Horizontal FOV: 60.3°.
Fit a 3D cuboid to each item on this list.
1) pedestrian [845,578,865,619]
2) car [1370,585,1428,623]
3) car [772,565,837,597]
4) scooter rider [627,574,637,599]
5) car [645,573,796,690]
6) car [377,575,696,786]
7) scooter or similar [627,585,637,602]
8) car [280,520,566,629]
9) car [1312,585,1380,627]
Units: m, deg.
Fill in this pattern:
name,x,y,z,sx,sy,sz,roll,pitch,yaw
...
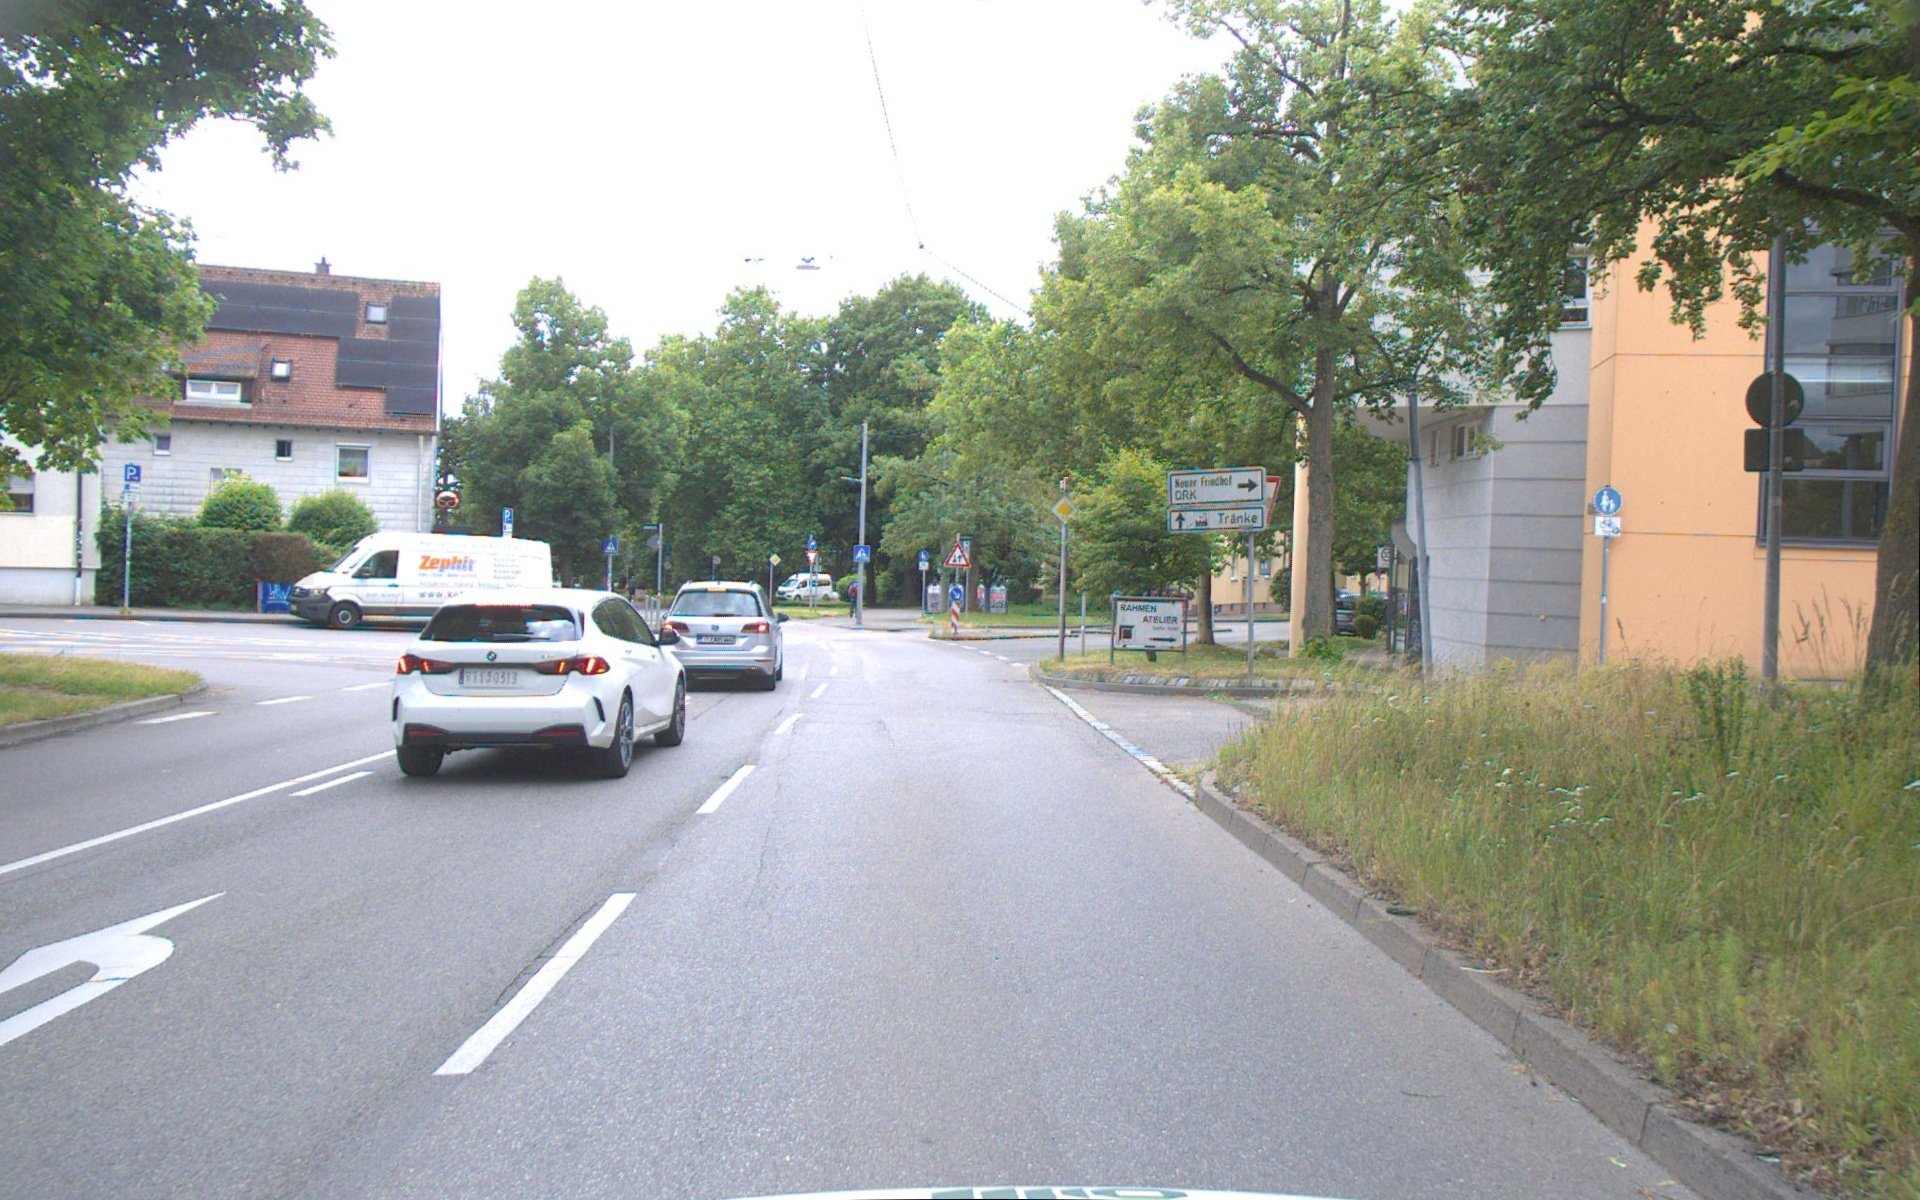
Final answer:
name,x,y,z,sx,sy,sz,roll,pitch,yaw
pedestrian,-5.151,-0.059,81.265,0.906,1.903,1.018,-2,4,-5
car,20.989,0.205,78.988,1.744,1.625,4.243,4,1,27
car,-12.715,-1.571,135.550,2.096,2.336,5.363,5,2,37
scooter rider,-21.488,-0.877,108.298,0.591,1.579,0.564,0,2,-16
car,-3.607,0.421,25.570,1.884,1.601,3.998,1,1,-3
car,-3.480,0.579,14.392,1.759,1.544,4.206,-1,0,-1
scooter or similar,-21.448,-0.406,108.163,0.591,1.073,0.869,0,2,-16
car,-14.184,-0.640,44.055,6.912,2.565,2.056,2,2,-39
car,16.159,0.261,69.063,1.838,1.595,4.015,5,1,26
